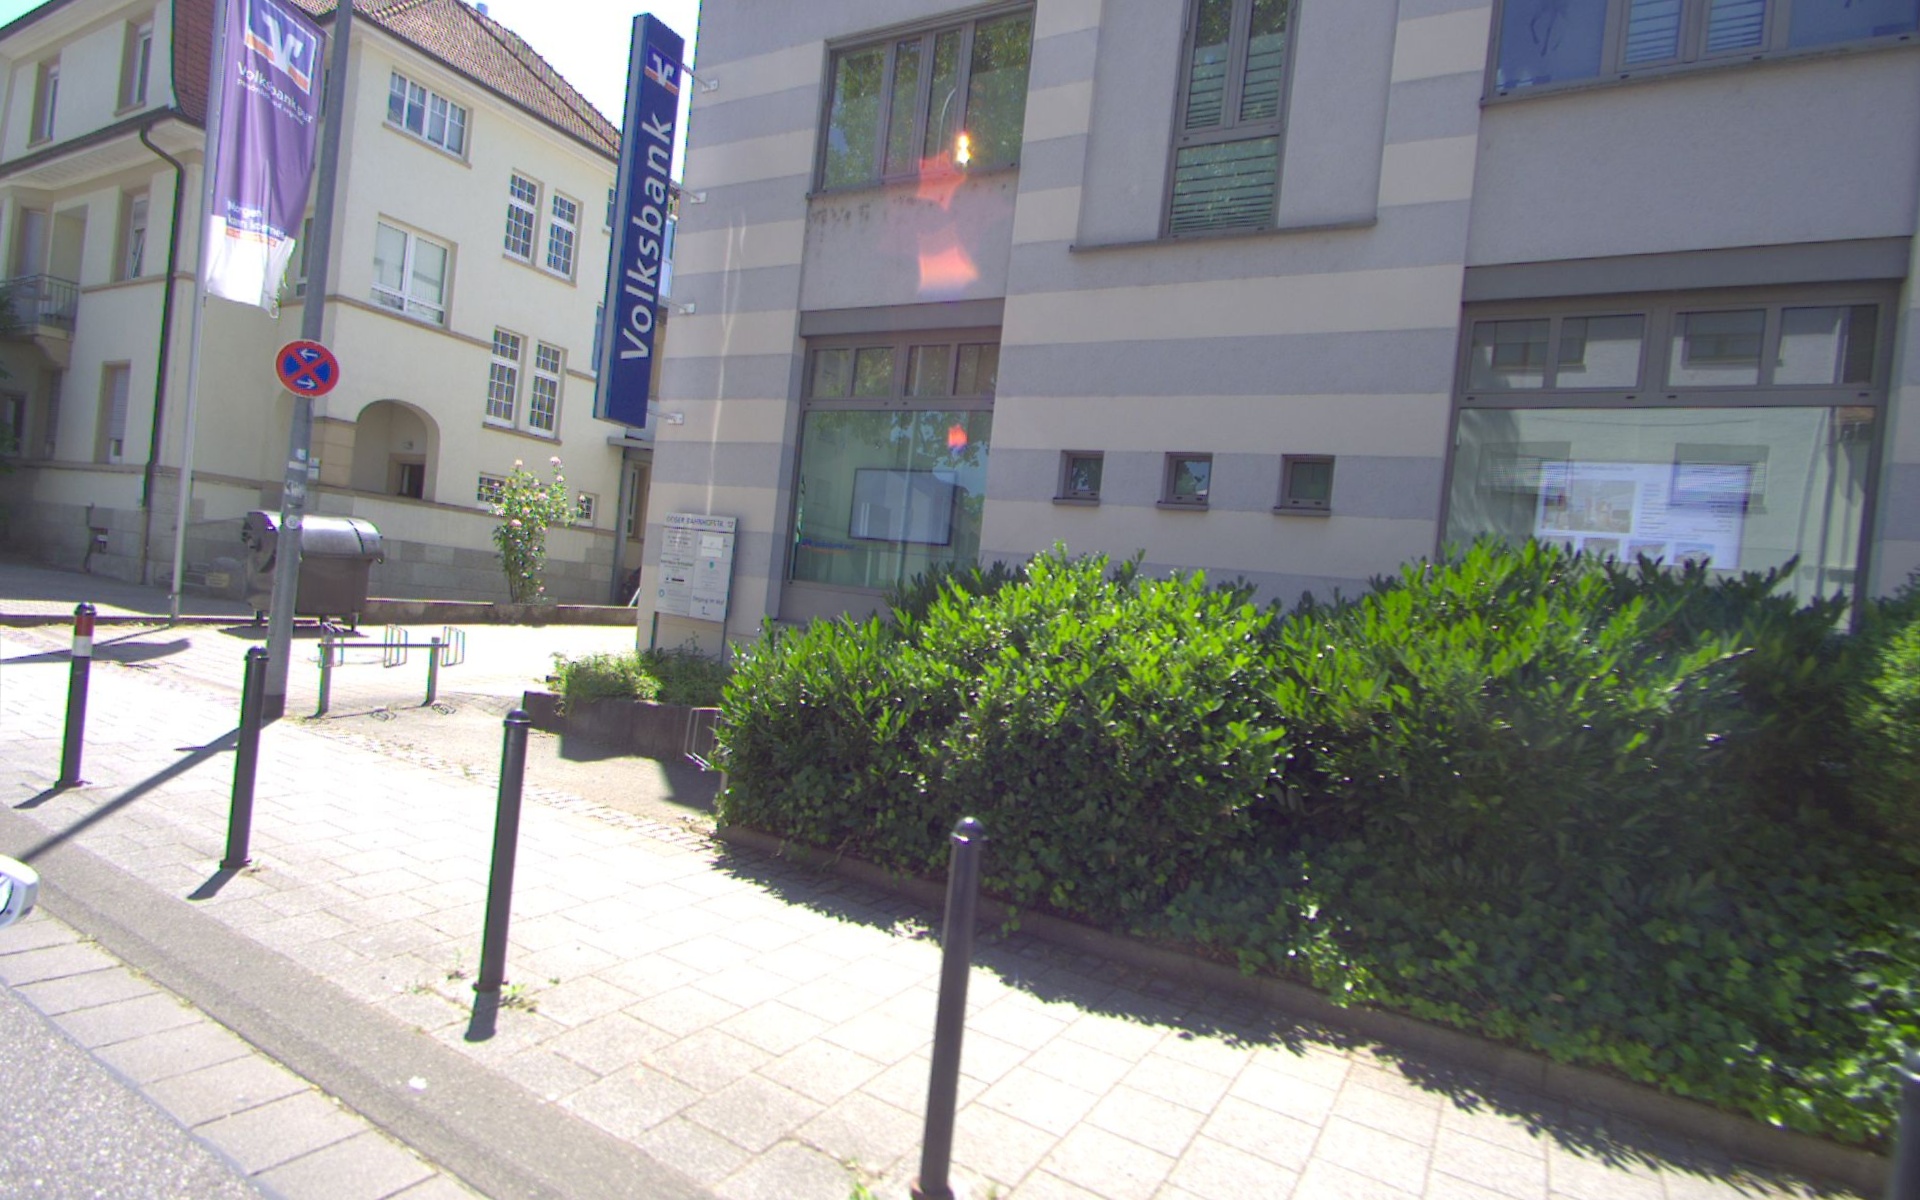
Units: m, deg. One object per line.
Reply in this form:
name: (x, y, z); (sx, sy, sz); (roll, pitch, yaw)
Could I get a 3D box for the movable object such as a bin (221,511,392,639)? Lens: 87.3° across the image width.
movable object such as a bin: (-8.441, -0.316, 13.018); (1.358, 1.478, 1.367); (6, 3, 32)

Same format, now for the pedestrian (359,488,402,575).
pedestrian: (-11.810, -1.383, 20.511); (0.588, 1.679, 0.734); (6, 1, -28)

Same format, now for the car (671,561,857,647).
car: (-4.546, 0.133, 23.800); (1.785, 1.628, 3.982); (7, 1, 39)

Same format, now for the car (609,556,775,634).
car: (-6.539, -0.075, 24.920); (1.723, 1.510, 3.739); (7, 0, 29)
